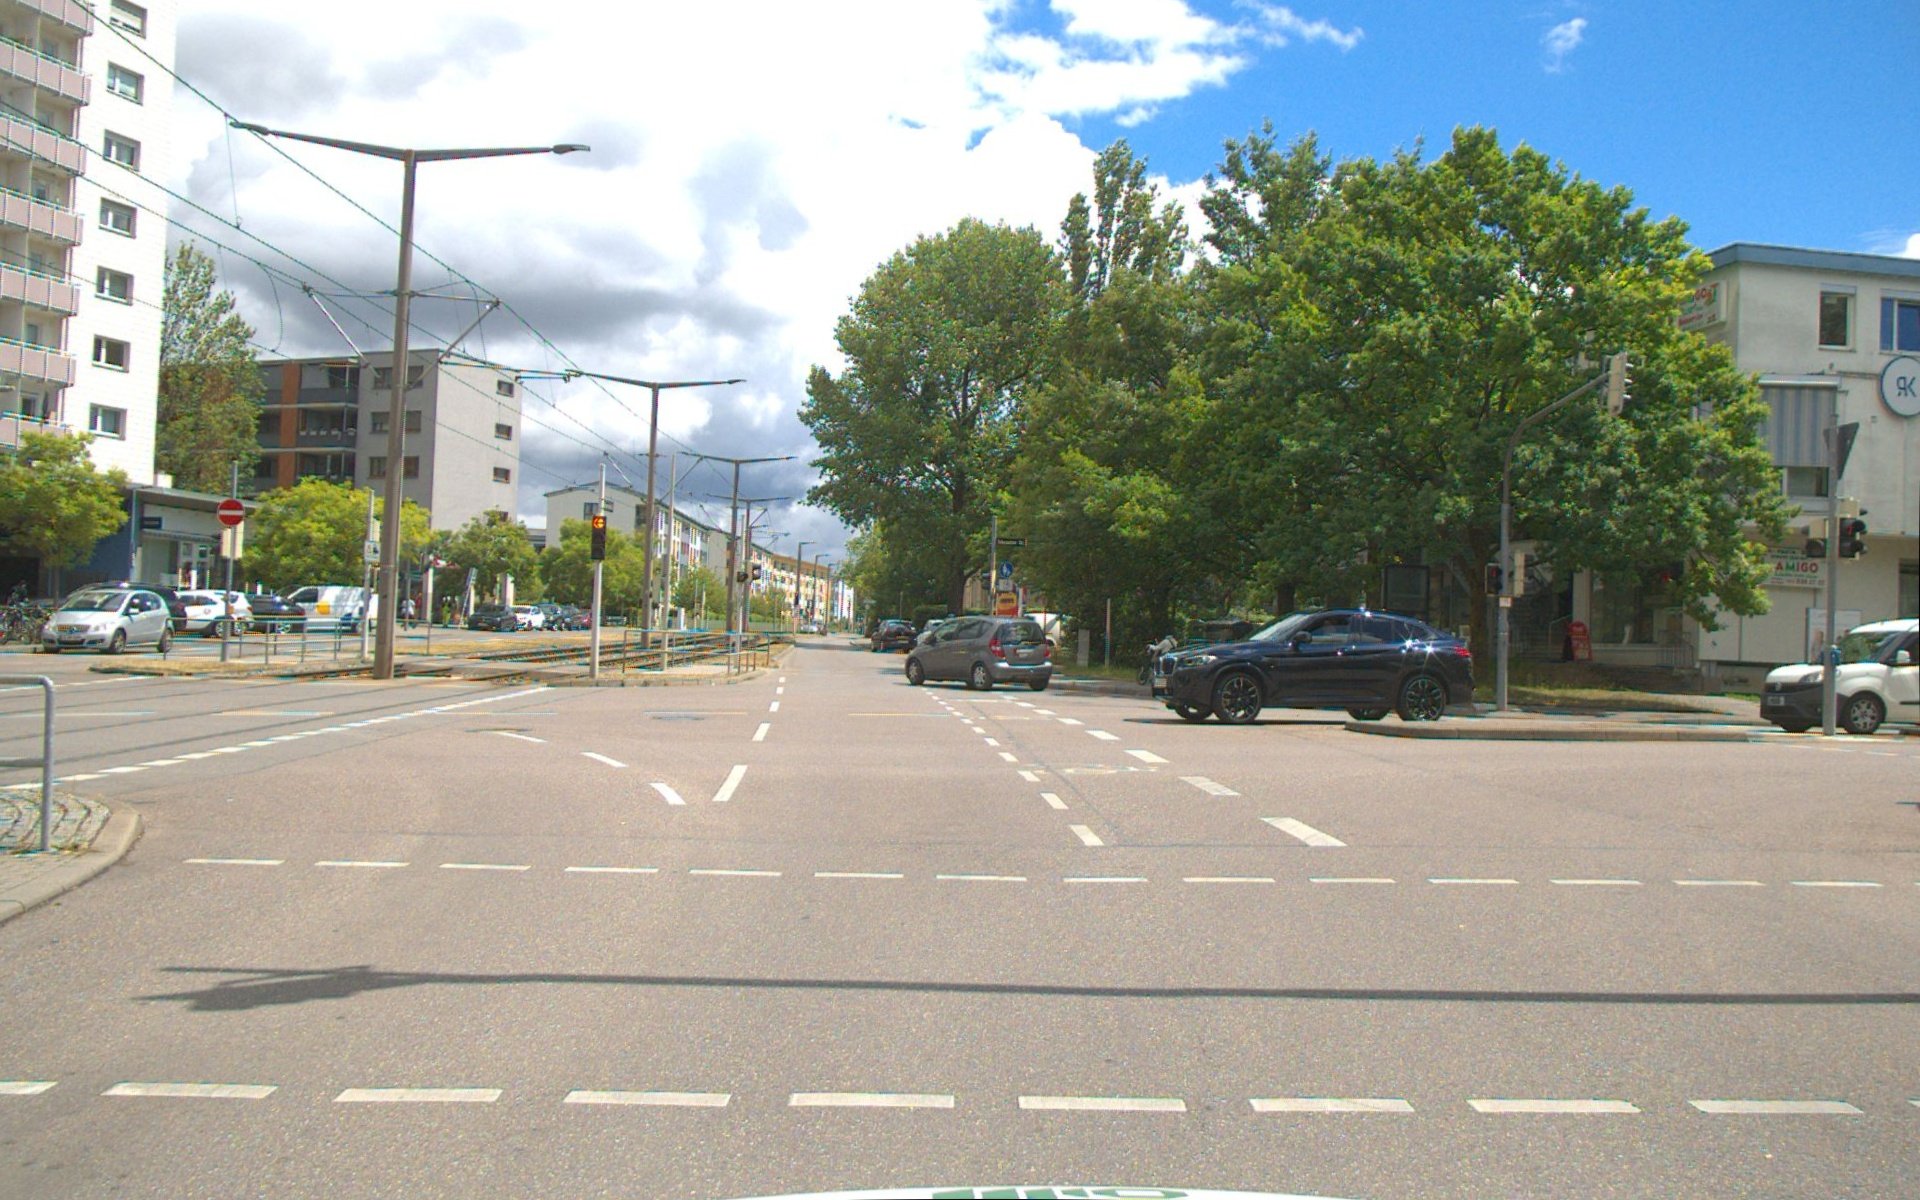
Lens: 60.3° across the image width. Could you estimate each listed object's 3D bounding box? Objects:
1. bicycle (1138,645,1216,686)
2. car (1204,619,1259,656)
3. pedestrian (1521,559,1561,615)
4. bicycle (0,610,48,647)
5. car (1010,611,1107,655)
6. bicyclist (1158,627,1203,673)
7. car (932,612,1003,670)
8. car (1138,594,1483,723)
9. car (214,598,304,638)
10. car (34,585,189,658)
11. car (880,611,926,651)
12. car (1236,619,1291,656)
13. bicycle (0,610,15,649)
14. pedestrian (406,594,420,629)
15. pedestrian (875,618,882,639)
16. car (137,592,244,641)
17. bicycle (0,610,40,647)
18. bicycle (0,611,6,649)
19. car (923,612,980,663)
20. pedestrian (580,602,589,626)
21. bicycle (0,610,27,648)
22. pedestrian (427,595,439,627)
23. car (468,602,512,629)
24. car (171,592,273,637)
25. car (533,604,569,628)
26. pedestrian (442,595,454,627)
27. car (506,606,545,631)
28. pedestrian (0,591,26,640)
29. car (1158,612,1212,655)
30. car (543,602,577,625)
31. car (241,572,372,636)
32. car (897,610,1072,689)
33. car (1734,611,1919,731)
[{"bbox_3d":[4.946,1.488,37.786,0.784,0.833,1.788,2,0,-32],"label":"bicycle"},{"bbox_3d":[12.322,1.690,75.284,1.598,1.600,4.029,1,0,-4],"label":"car"},{"bbox_3d":[17.700,-0.407,50.383,0.755,1.672,0.904,2,0,-13],"label":"pedestrian"},{"bbox_3d":[-25.000,0.738,43.302,1.910,0.951,0.494,1,-1,-7],"label":"bicycle"},{"bbox_3d":[4.382,1.472,73.371,3.933,1.855,1.766,1,0,-24],"label":"car"},{"bbox_3d":[5.041,1.141,37.750,0.784,1.040,0.628,2,0,-34],"label":"bicyclist"},{"bbox_3d":[0.197,1.261,51.787,2.108,1.713,3.999,1,-1,-1],"label":"car"},{"bbox_3d":[5.038,0.834,24.014,4.479,1.747,1.994,1,0,-13],"label":"car"},{"bbox_3d":[-27.111,0.669,63.911,4.147,1.445,1.777,1,0,45],"label":"car"},{"bbox_3d":[-21.266,0.520,41.621,1.898,1.723,3.872,1,0,-1],"label":"car"},{"bbox_3d":[-2.515,1.366,74.416,1.953,1.713,3.999,1,0,-1],"label":"car"},{"bbox_3d":[14.055,1.723,76.766,1.598,1.623,3.997,1,0,-4],"label":"car"},{"bbox_3d":[-24.942,0.728,41.673,1.910,0.951,0.494,1,-1,-7],"label":"bicycle"},{"bbox_3d":[-27.205,0.571,82.233,0.536,1.746,0.405,1,0,-1],"label":"pedestrian"},{"bbox_3d":[-6.800,2.375,138.168,0.469,1.665,0.454,1,0,-2],"label":"pedestrian"},{"bbox_3d":[-26.756,0.553,57.472,4.143,1.597,1.949,1,0,43],"label":"car"},{"bbox_3d":[-24.953,0.736,42.822,1.910,0.951,0.494,1,-1,-7],"label":"bicycle"},{"bbox_3d":[-24.897,0.726,41.198,1.910,0.951,0.494,1,-1,-7],"label":"bicycle"},{"bbox_3d":[-0.308,1.330,59.225,1.953,1.713,3.999,1,-1,-1],"label":"car"},{"bbox_3d":[-26.308,0.953,115.876,0.443,1.665,0.480,1,0,3],"label":"pedestrian"},{"bbox_3d":[-24.955,0.732,42.219,1.910,0.951,0.494,1,-1,-7],"label":"bicycle"},{"bbox_3d":[-28.691,0.581,90.055,0.537,1.746,0.404,1,0,-11],"label":"pedestrian"},{"bbox_3d":[-25.721,0.829,90.668,1.728,1.419,3.993,1,0,-7],"label":"car"},{"bbox_3d":[-27.127,0.532,60.764,4.143,1.564,1.949,1,0,43],"label":"car"},{"bbox_3d":[-25.837,1.015,104.669,1.728,1.419,3.993,1,0,-7],"label":"car"},{"bbox_3d":[-28.821,0.617,93.119,0.537,1.746,0.667,1,0,-11],"label":"pedestrian"},{"bbox_3d":[-25.740,1.065,98.078,1.728,1.419,3.993,1,0,-7],"label":"car"},{"bbox_3d":[-31.923,0.522,55.565,0.754,1.643,0.696,1,0,-14],"label":"pedestrian"},{"bbox_3d":[10.136,1.505,74.718,1.598,1.842,4.029,1,0,-4],"label":"car"},{"bbox_3d":[-26.396,0.891,109.225,1.728,1.419,3.993,1,0,-7],"label":"car"},{"bbox_3d":[-27.335,0.137,69.024,2.811,2.522,6.614,1,0,-44],"label":"car"},{"bbox_3d":[0.488,1.066,36.673,1.977,1.583,3.871,1,0,-36],"label":"car"},{"bbox_3d":[14.804,1.104,25.970,4.475,1.747,1.995,1,0,-10],"label":"car"}]
